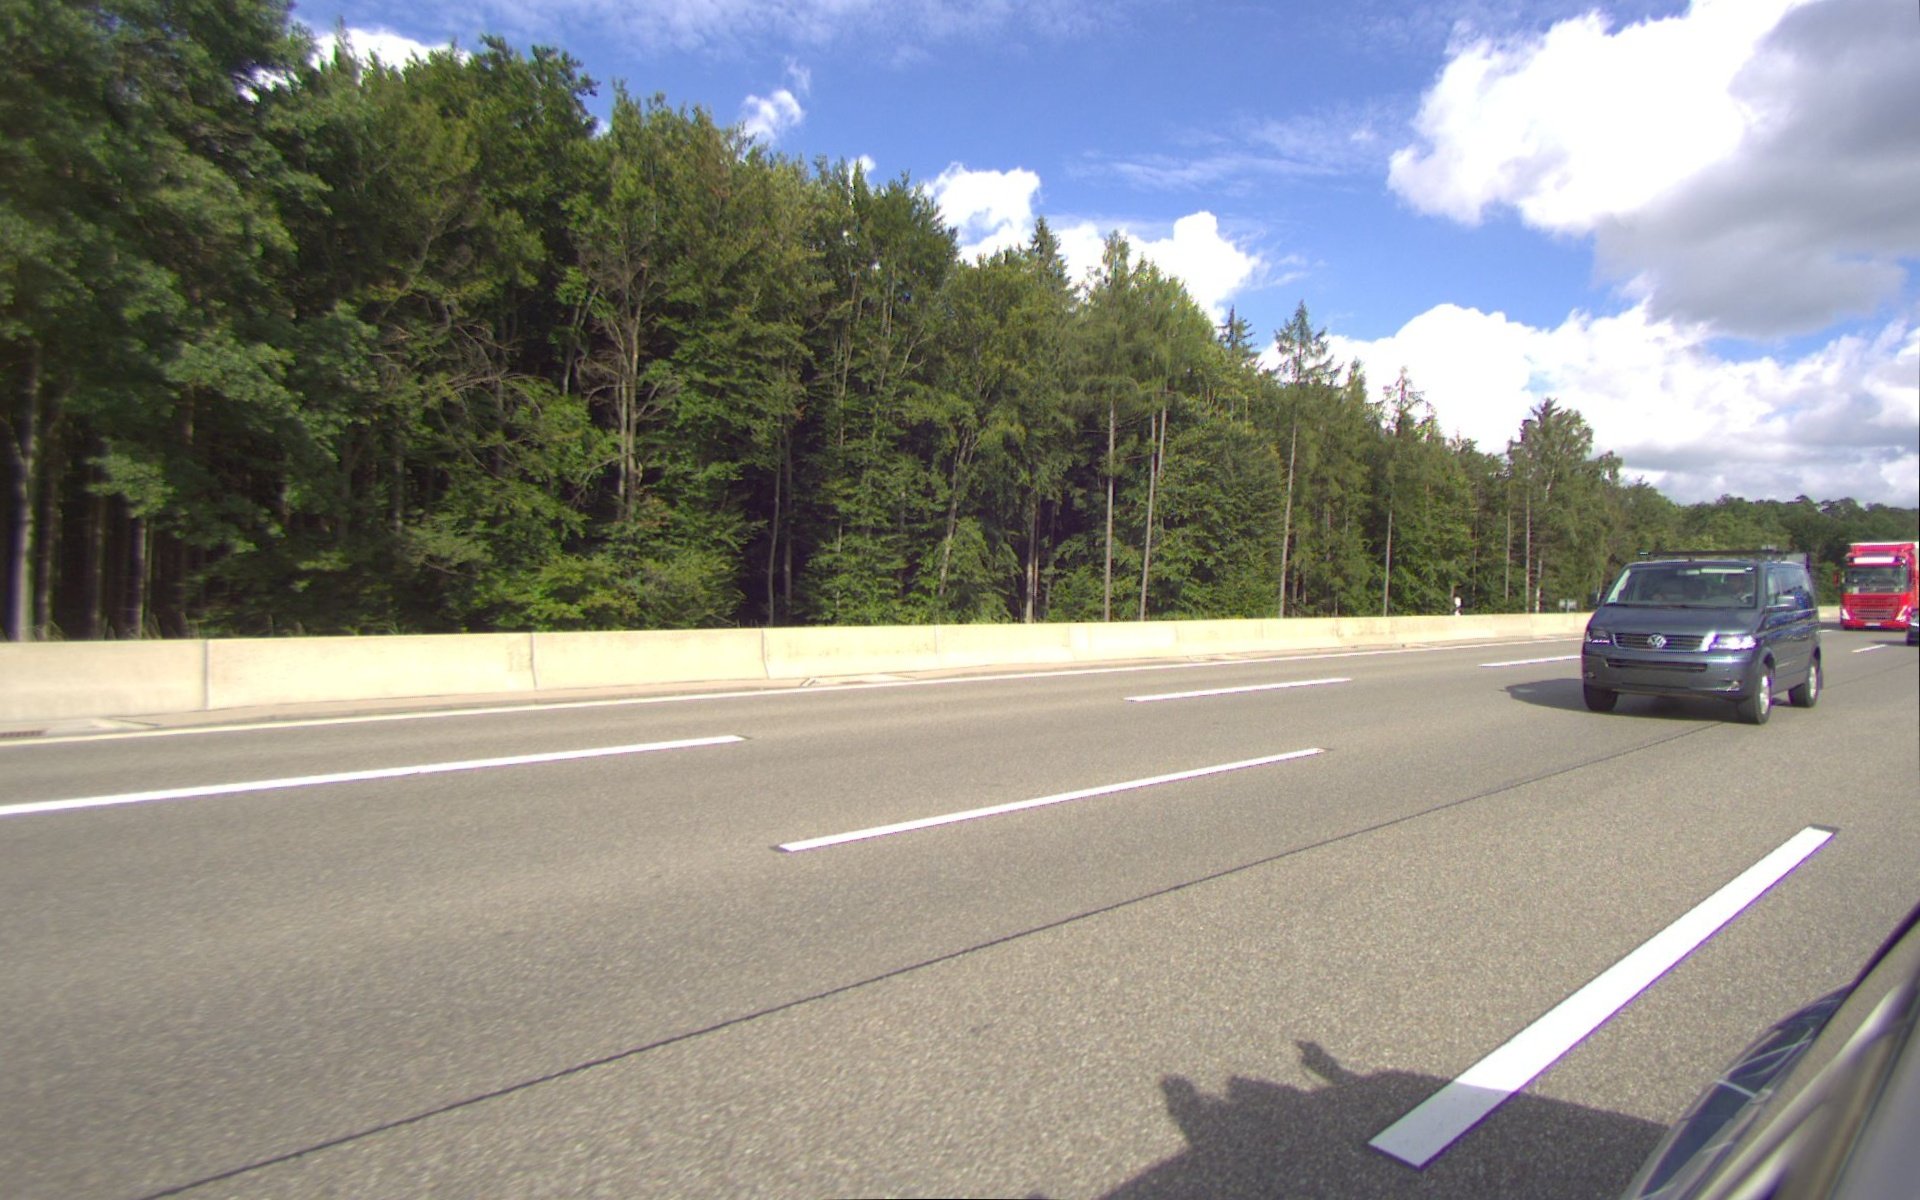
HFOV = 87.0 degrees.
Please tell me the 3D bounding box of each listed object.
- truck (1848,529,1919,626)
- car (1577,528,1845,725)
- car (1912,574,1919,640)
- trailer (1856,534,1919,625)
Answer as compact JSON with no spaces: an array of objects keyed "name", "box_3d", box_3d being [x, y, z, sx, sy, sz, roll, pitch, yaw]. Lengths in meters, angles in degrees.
[{"name":"truck","box_3d":[43.294,-1.037,46.966,4.572,4.255,2.531,-1,1,-41]},{"name":"car","box_3d":[10.209,0.262,13.599,4.875,2.192,1.925,0,1,-42]},{"name":"car","box_3d":[31.908,0.211,32.097,3.928,2.039,1.998,0,0,-39]},{"name":"trailer","box_3d":[48.641,-1.057,51.601,14.126,4.171,2.529,-1,1,-41]}]
